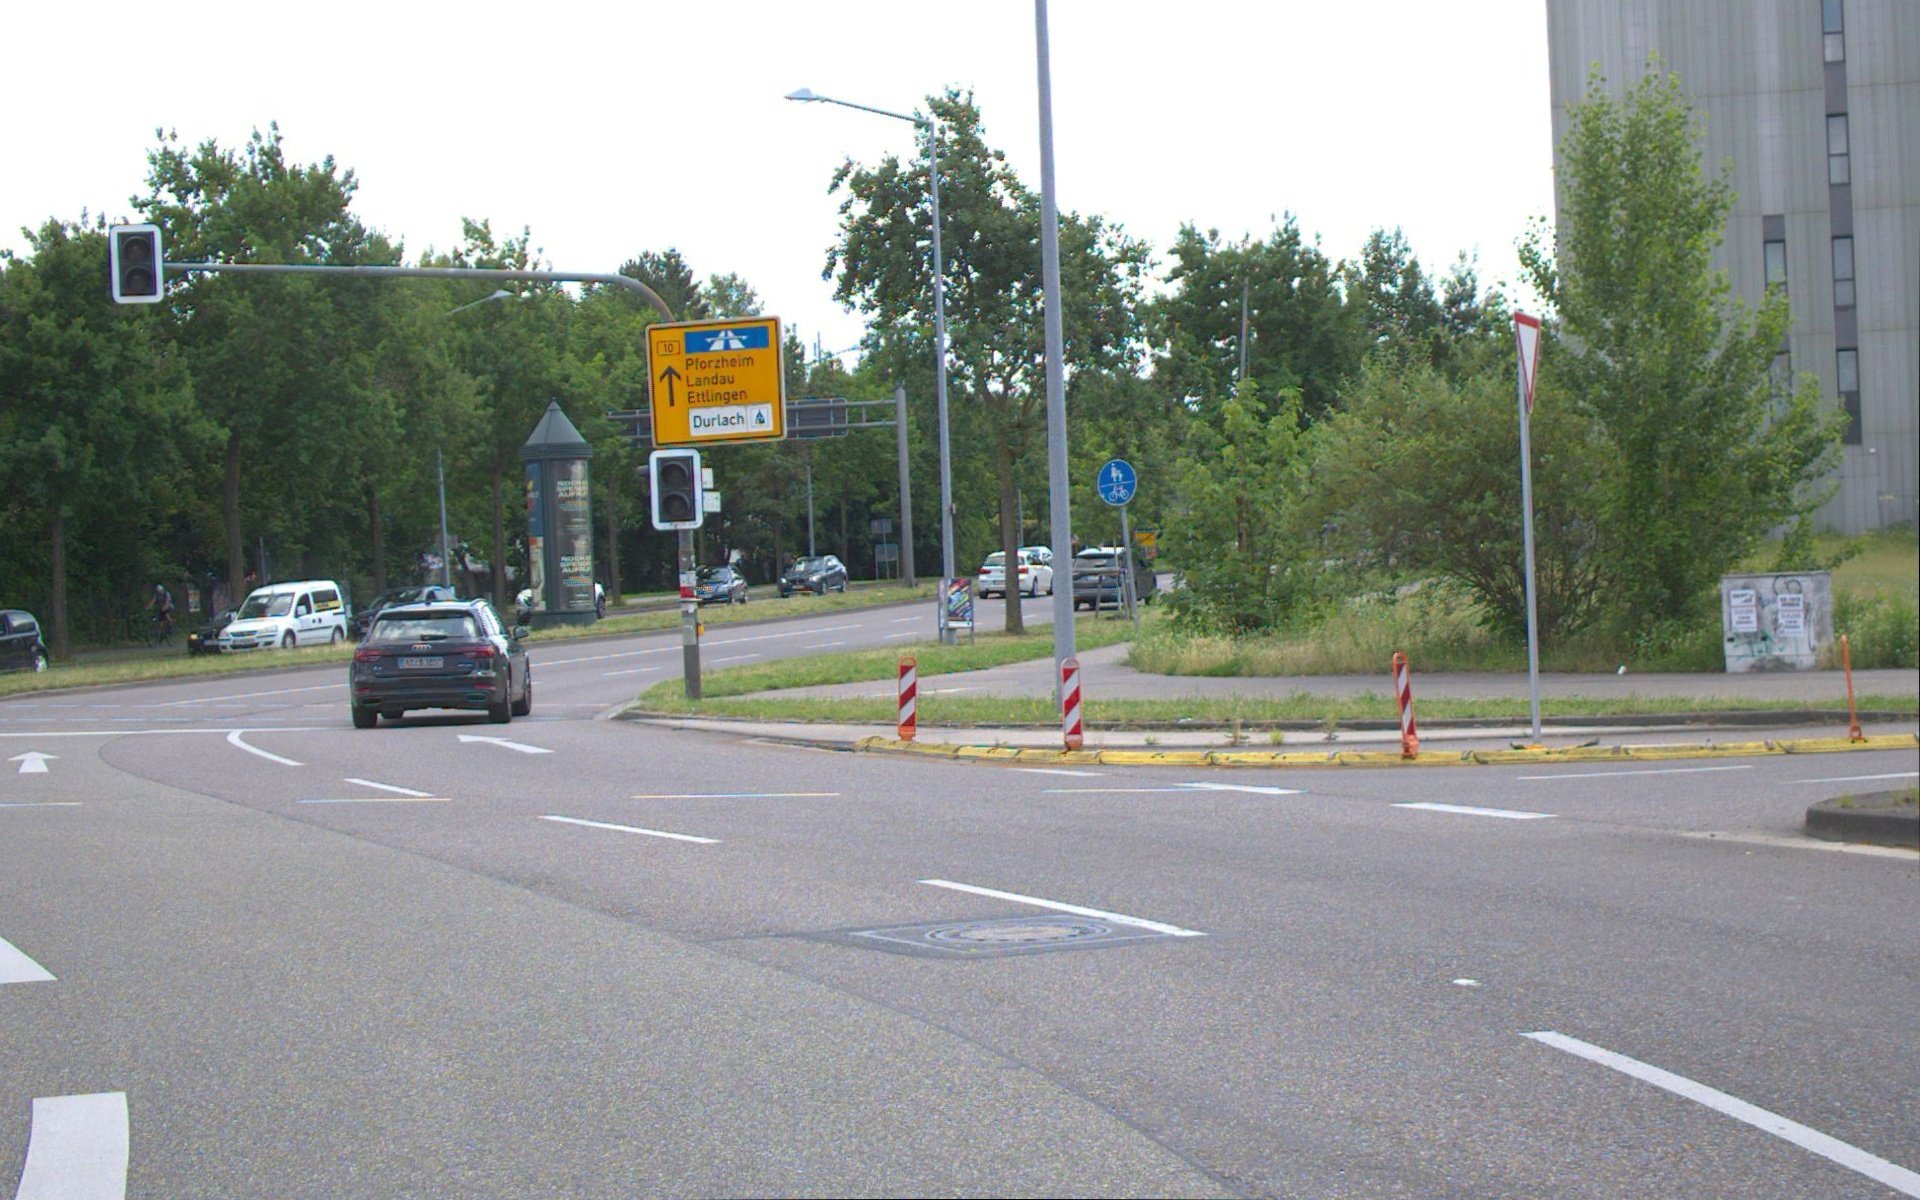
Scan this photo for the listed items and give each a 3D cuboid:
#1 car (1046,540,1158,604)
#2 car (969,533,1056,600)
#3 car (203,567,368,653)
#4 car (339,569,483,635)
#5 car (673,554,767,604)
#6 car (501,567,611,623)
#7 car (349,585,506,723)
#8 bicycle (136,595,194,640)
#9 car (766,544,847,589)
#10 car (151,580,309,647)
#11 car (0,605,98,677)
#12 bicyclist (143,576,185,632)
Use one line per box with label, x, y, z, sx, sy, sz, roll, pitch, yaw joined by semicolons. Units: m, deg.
car;3.892;-0.777;93.524;1.995;1.620;4.306;-1;1;16
car;1.650;-1.052;107.219;1.994;2.007;3.998;-1;1;11
car;-15.896;0.209;81.278;1.839;1.793;4.785;-4;0;15
car;-14.113;0.040;88.636;1.839;1.475;4.750;-4;0;14
car;-8.320;-0.753;119.554;1.723;1.585;5.010;-3;1;14
car;-12.559;-0.165;107.052;1.911;1.535;4.366;-3;1;14
car;-6.190;0.587;40.018;1.683;1.458;4.001;-1;1;-9
bicycle;-22.223;0.478;96.145;0.761;1.215;2.015;0;1;14
car;-6.011;-1.324;135.193;1.764;1.571;5.029;-3;1;13
car;-18.366;0.322;86.661;1.839;1.438;4.415;-4;0;18
car;-19.077;0.874;67.641;1.839;1.306;4.784;-4;0;17
bicyclist;-22.238;0.113;96.070;0.830;1.559;0.883;0;1;14
